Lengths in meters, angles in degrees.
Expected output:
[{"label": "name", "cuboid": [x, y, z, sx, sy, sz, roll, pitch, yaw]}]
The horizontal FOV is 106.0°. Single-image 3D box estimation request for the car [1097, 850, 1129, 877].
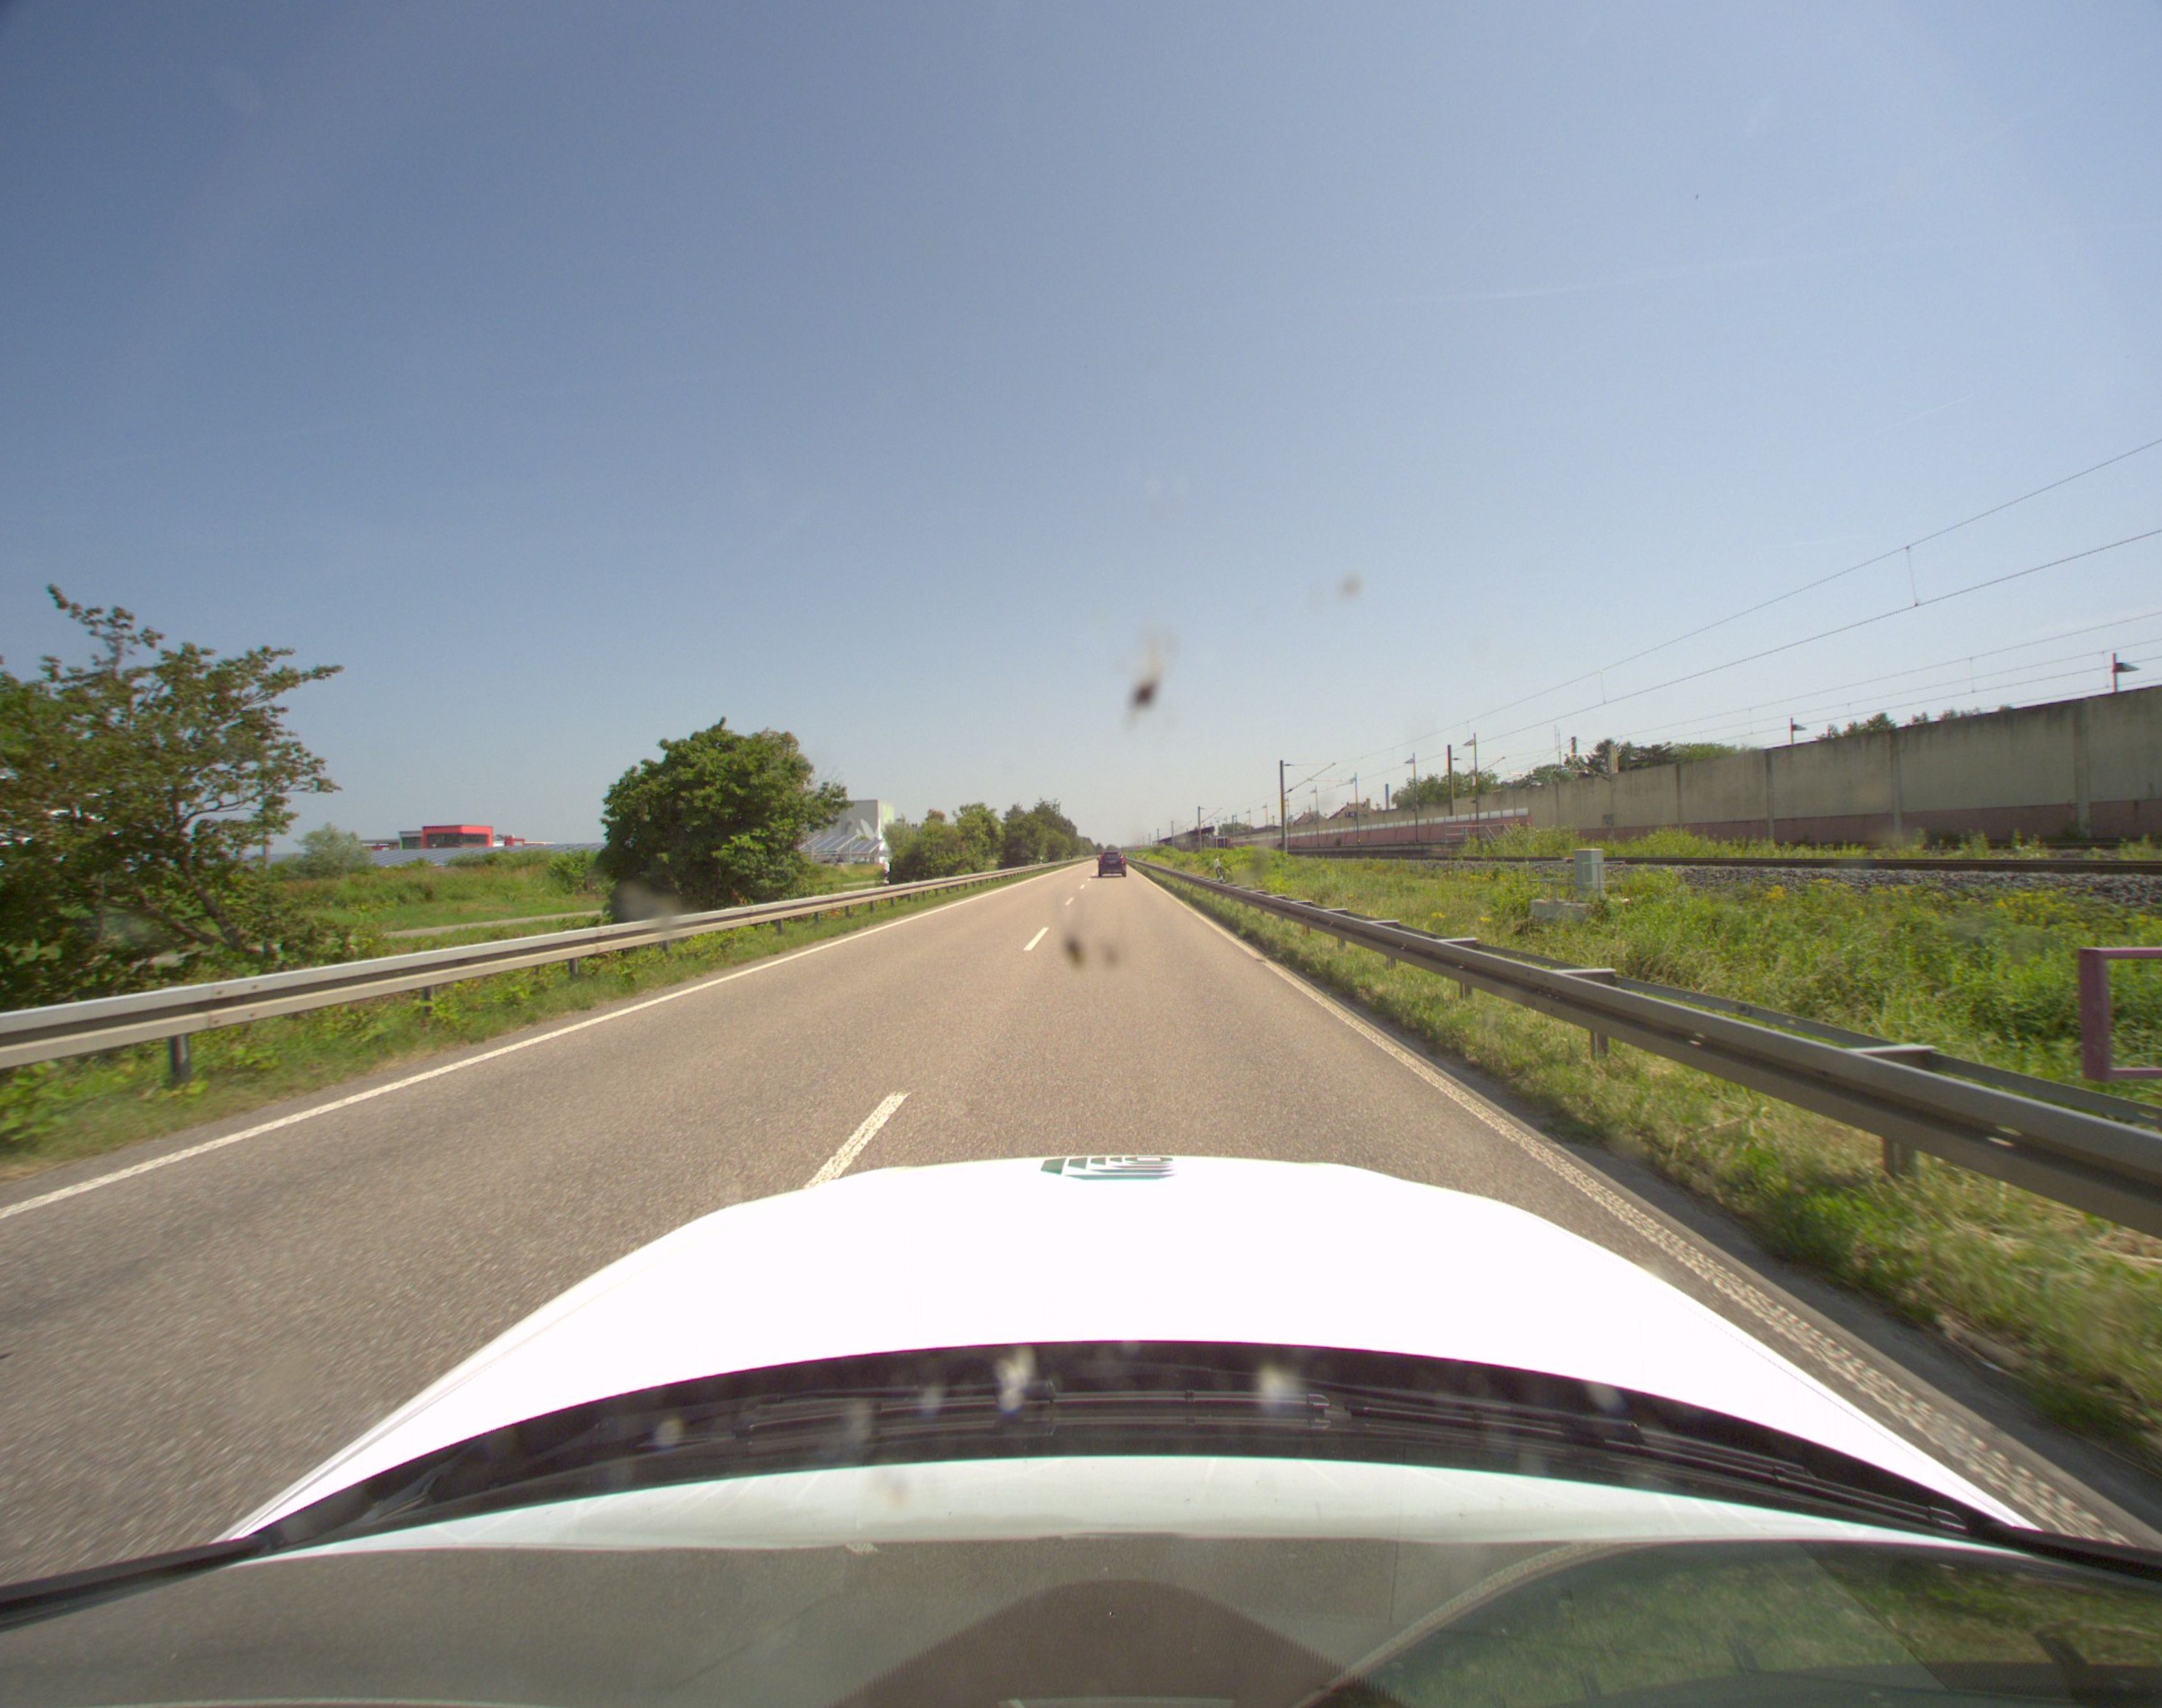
[{"label": "car", "cuboid": [2.137, 0.619, 55.109, 1.987, 1.700, 3.999, -1, 0, 0]}]
